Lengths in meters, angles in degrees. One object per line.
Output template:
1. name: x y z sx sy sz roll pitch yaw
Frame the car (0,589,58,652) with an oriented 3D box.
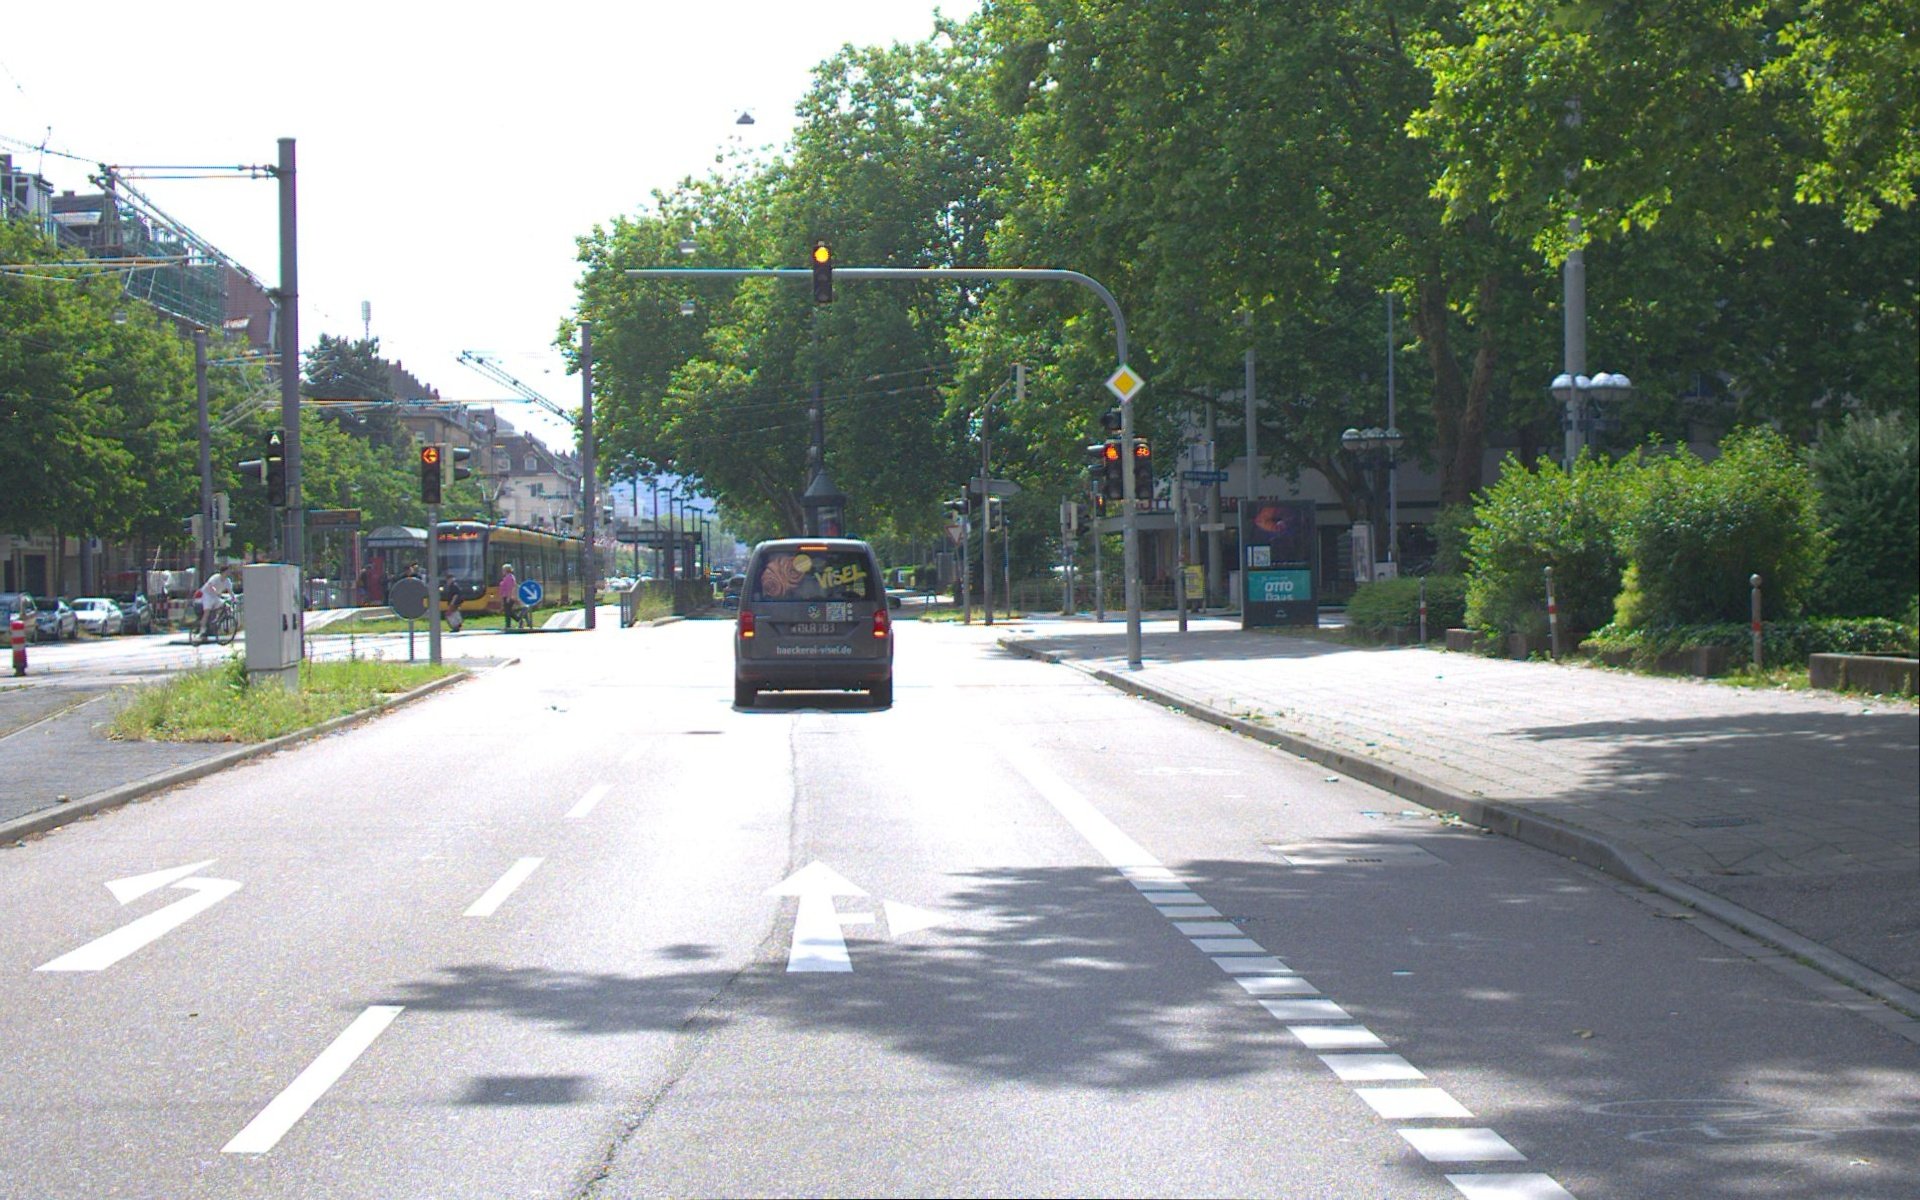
1. car: -31.179 0.667 113.192 1.993 2.007 4.000 -1 1 -2

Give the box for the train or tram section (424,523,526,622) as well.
1. train or tram section: -17.327 -1.016 123.515 2.240 3.320 12.972 -1 1 -2

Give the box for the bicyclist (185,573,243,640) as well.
1. bicyclist: -17.183 0.150 79.219 0.999 1.506 0.779 -1 1 31

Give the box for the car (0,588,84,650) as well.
1. car: -31.580 0.628 118.268 1.993 2.007 4.000 -1 1 -2

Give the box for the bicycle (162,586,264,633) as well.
1. bicycle: -17.227 0.222 79.249 2.305 1.045 0.895 -1 1 33

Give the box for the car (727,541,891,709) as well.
1. car: -1.686 0.251 38.603 1.750 1.802 3.475 0 1 -2

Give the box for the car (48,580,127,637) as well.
1. car: -32.137 0.290 126.761 1.993 2.007 4.000 -1 1 -2

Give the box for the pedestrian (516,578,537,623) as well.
1. pedestrian: -11.162 0.018 88.553 0.463 1.140 0.435 -1 0 -2

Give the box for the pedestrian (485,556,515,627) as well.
1. pedestrian: -11.770 -0.220 87.997 0.659 1.778 0.660 -1 0 -2
